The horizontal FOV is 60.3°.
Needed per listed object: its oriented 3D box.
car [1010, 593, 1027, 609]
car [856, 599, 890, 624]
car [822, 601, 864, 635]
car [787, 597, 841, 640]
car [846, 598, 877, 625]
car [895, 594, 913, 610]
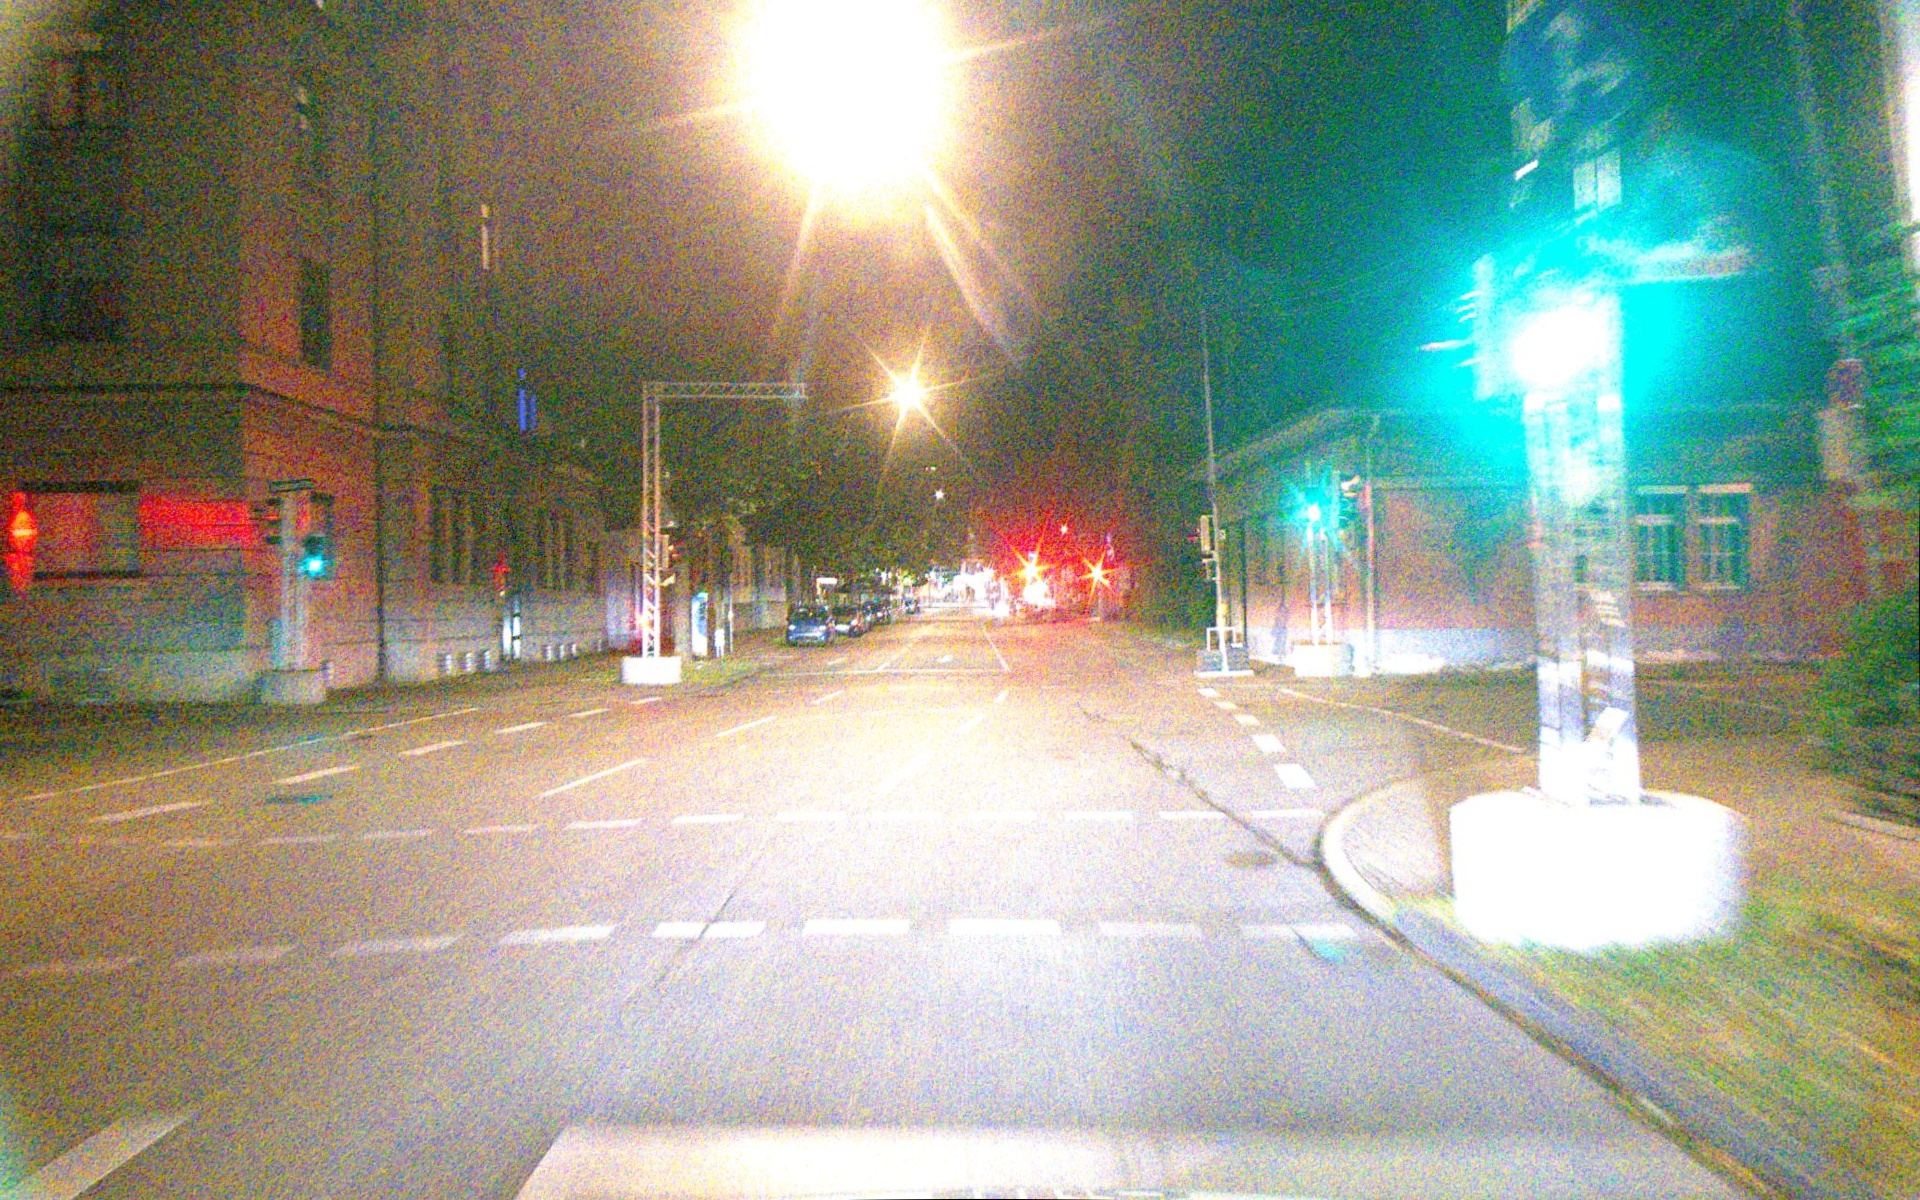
[{"bbox_3d":[5.727,0.090,163.358,1.617,1.456,4.001,-2,0,2],"label":"car"},{"bbox_3d":[-5.483,0.722,105.029,1.860,1.497,4.452,0,1,0],"label":"car"},{"bbox_3d":[-5.531,0.815,78.355,1.732,1.511,4.766,-2,0,-2],"label":"car"},{"bbox_3d":[-5.471,0.714,62.187,1.679,1.520,3.989,-1,-2,0],"label":"car"},{"bbox_3d":[-5.460,0.631,91.867,1.590,1.407,4.449,-2,0,-3],"label":"car"},{"bbox_3d":[-5.417,0.202,160.716,1.617,1.456,4.000,-2,0,0],"label":"car"}]
